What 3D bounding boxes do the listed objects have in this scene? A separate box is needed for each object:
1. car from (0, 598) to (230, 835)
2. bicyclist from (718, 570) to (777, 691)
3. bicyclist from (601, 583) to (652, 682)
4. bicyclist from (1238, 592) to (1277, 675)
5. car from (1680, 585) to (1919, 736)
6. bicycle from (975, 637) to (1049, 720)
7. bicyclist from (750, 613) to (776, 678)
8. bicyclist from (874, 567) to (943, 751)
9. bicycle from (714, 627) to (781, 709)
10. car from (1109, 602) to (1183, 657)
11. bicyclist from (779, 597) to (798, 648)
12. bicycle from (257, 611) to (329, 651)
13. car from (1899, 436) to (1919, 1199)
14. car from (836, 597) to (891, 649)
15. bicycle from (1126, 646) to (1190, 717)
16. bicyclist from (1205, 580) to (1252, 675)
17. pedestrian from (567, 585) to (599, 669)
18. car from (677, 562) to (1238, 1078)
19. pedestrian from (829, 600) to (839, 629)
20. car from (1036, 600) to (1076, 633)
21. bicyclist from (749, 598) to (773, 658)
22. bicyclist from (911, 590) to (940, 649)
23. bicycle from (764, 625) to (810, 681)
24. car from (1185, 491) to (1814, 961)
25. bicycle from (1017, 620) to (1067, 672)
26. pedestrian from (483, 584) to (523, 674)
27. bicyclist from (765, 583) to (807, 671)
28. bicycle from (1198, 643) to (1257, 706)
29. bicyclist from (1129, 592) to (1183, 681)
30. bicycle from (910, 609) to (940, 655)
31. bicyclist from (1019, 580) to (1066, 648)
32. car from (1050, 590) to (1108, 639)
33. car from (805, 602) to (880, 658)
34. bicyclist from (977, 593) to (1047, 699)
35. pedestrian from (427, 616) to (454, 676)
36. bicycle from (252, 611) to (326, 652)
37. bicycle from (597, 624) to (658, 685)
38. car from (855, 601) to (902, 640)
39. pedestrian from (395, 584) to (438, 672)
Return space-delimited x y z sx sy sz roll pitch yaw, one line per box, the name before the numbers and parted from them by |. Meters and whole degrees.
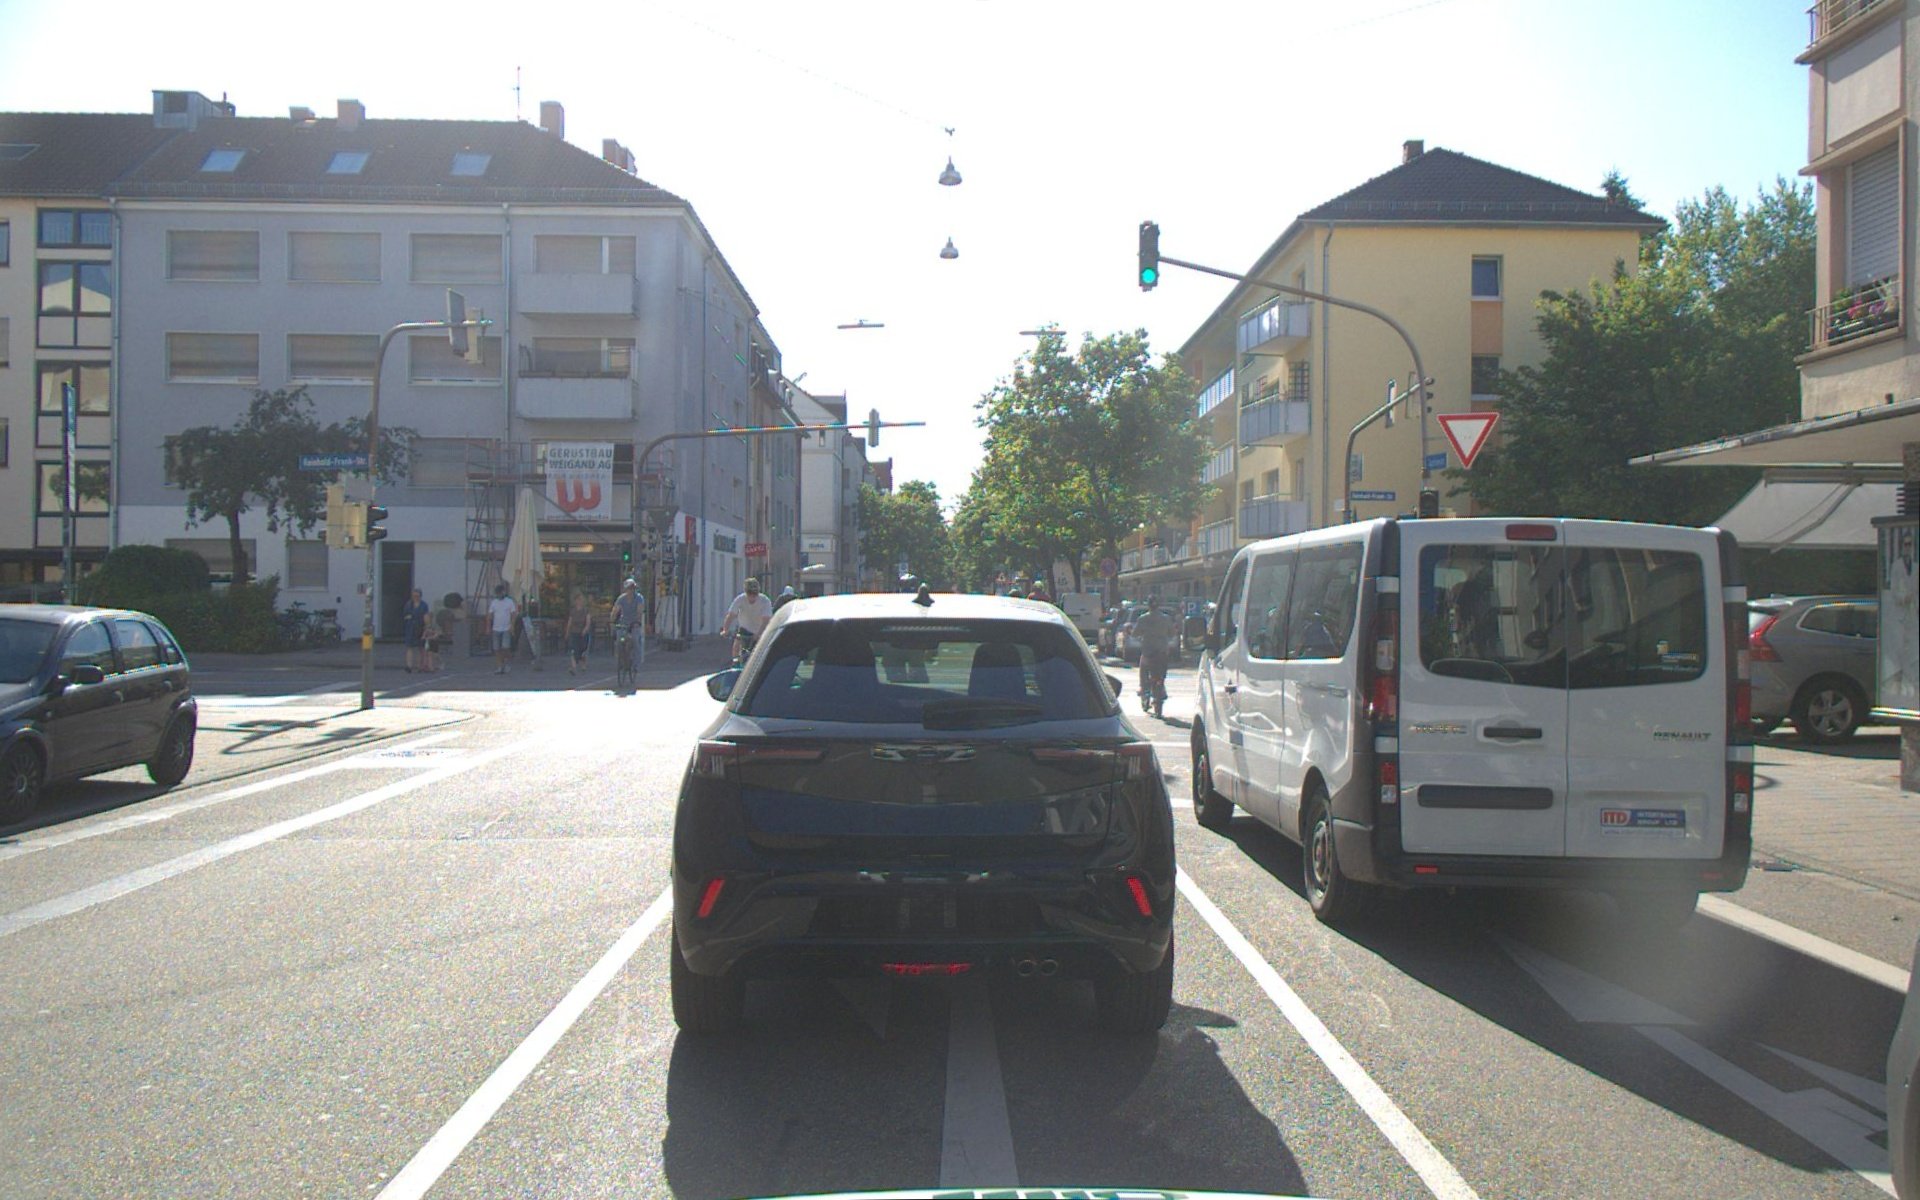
car | -7.117 0.756 12.366 1.657 1.473 3.855 2 0 -2
bicyclist | -2.946 0.417 22.983 0.702 1.648 0.946 0 -1 -1
bicyclist | -5.740 0.551 28.490 0.666 1.659 0.899 -1 0 -1
bicyclist | 5.133 0.567 28.551 0.535 1.406 0.823 0 0 0
car | 10.829 0.682 19.487 3.905 1.691 1.825 0 0 -1
bicycle | 0.670 1.015 22.068 0.839 0.961 2.307 2 0 -1
bicyclist | -4.367 1.006 36.701 0.532 1.415 0.788 0 0 -4
bicyclist | -0.482 0.544 15.777 0.619 1.698 1.050 0 0 -1
bicycle | -2.943 0.923 23.050 0.702 1.082 1.872 0 0 -1
car | 5.246 0.812 47.000 1.677 1.509 3.480 0 0 0
bicyclist | -5.378 0.704 52.009 0.542 1.576 0.814 1 0 -4
bicycle | -16.338 0.760 40.541 1.556 0.956 0.512 0 0 1
car | 3.057 0.568 1.174 1.928 1.842 4.831 0 0 -2
car | -3.075 0.747 53.239 1.559 1.593 4.088 -1 -1 0
bicycle | 2.712 1.099 22.793 0.677 0.881 1.876 0 0 1
bicyclist | 4.075 0.408 25.129 0.576 1.406 0.823 0 0 0
pedestrian | -7.275 0.511 31.943 0.521 1.609 0.562 0 0 -4
car | -0.031 0.692 7.111 1.726 1.586 3.999 0 0 -1
pedestrian | -7.225 0.821 94.576 0.566 1.610 0.707 0 0 -6
car | 4.500 0.748 77.876 1.677 1.509 3.380 0 0 0
bicyclist | -5.187 0.734 43.060 0.531 1.547 0.774 0 0 -1
bicyclist | -0.987 0.553 47.462 0.785 1.678 1.125 0 0 0
bicycle | -3.252 0.980 31.185 0.666 0.969 1.933 -1 0 -1
car | 2.684 0.561 9.679 1.928 1.974 5.054 2 0 -1
bicycle | 1.672 0.936 34.047 0.839 0.961 2.307 2 0 -1
pedestrian | -8.874 0.552 32.128 0.561 1.718 0.669 0 0 2
bicyclist | -3.265 0.501 31.082 0.666 1.604 0.899 -1 0 -1
bicycle | 4.080 1.122 25.343 0.607 0.881 1.876 0 0 1
bicyclist | 2.715 0.496 22.926 0.677 1.214 0.595 0 0 0
bicycle | -0.996 0.911 47.416 0.785 1.277 2.138 0 0 0
bicyclist | 1.698 0.277 34.122 0.839 1.337 1.210 2 0 -1
car | 4.691 0.546 65.618 2.004 1.879 4.584 0 0 1
car | -3.166 0.783 45.246 1.800 1.459 4.176 0 0 -1
bicyclist | 0.684 0.599 22.111 0.839 1.337 1.210 2 0 -1
pedestrian | -10.242 0.909 32.622 0.378 1.166 0.531 0 0 -3
bicycle | -16.214 0.758 39.978 1.556 0.956 0.512 0 0 1
bicycle | -5.728 0.918 28.566 0.666 0.969 1.933 -1 0 -1
car | -3.190 0.785 64.817 1.769 1.437 4.423 -1 0 -3
pedestrian | -10.740 0.538 32.717 0.561 1.712 0.968 0 0 -3
